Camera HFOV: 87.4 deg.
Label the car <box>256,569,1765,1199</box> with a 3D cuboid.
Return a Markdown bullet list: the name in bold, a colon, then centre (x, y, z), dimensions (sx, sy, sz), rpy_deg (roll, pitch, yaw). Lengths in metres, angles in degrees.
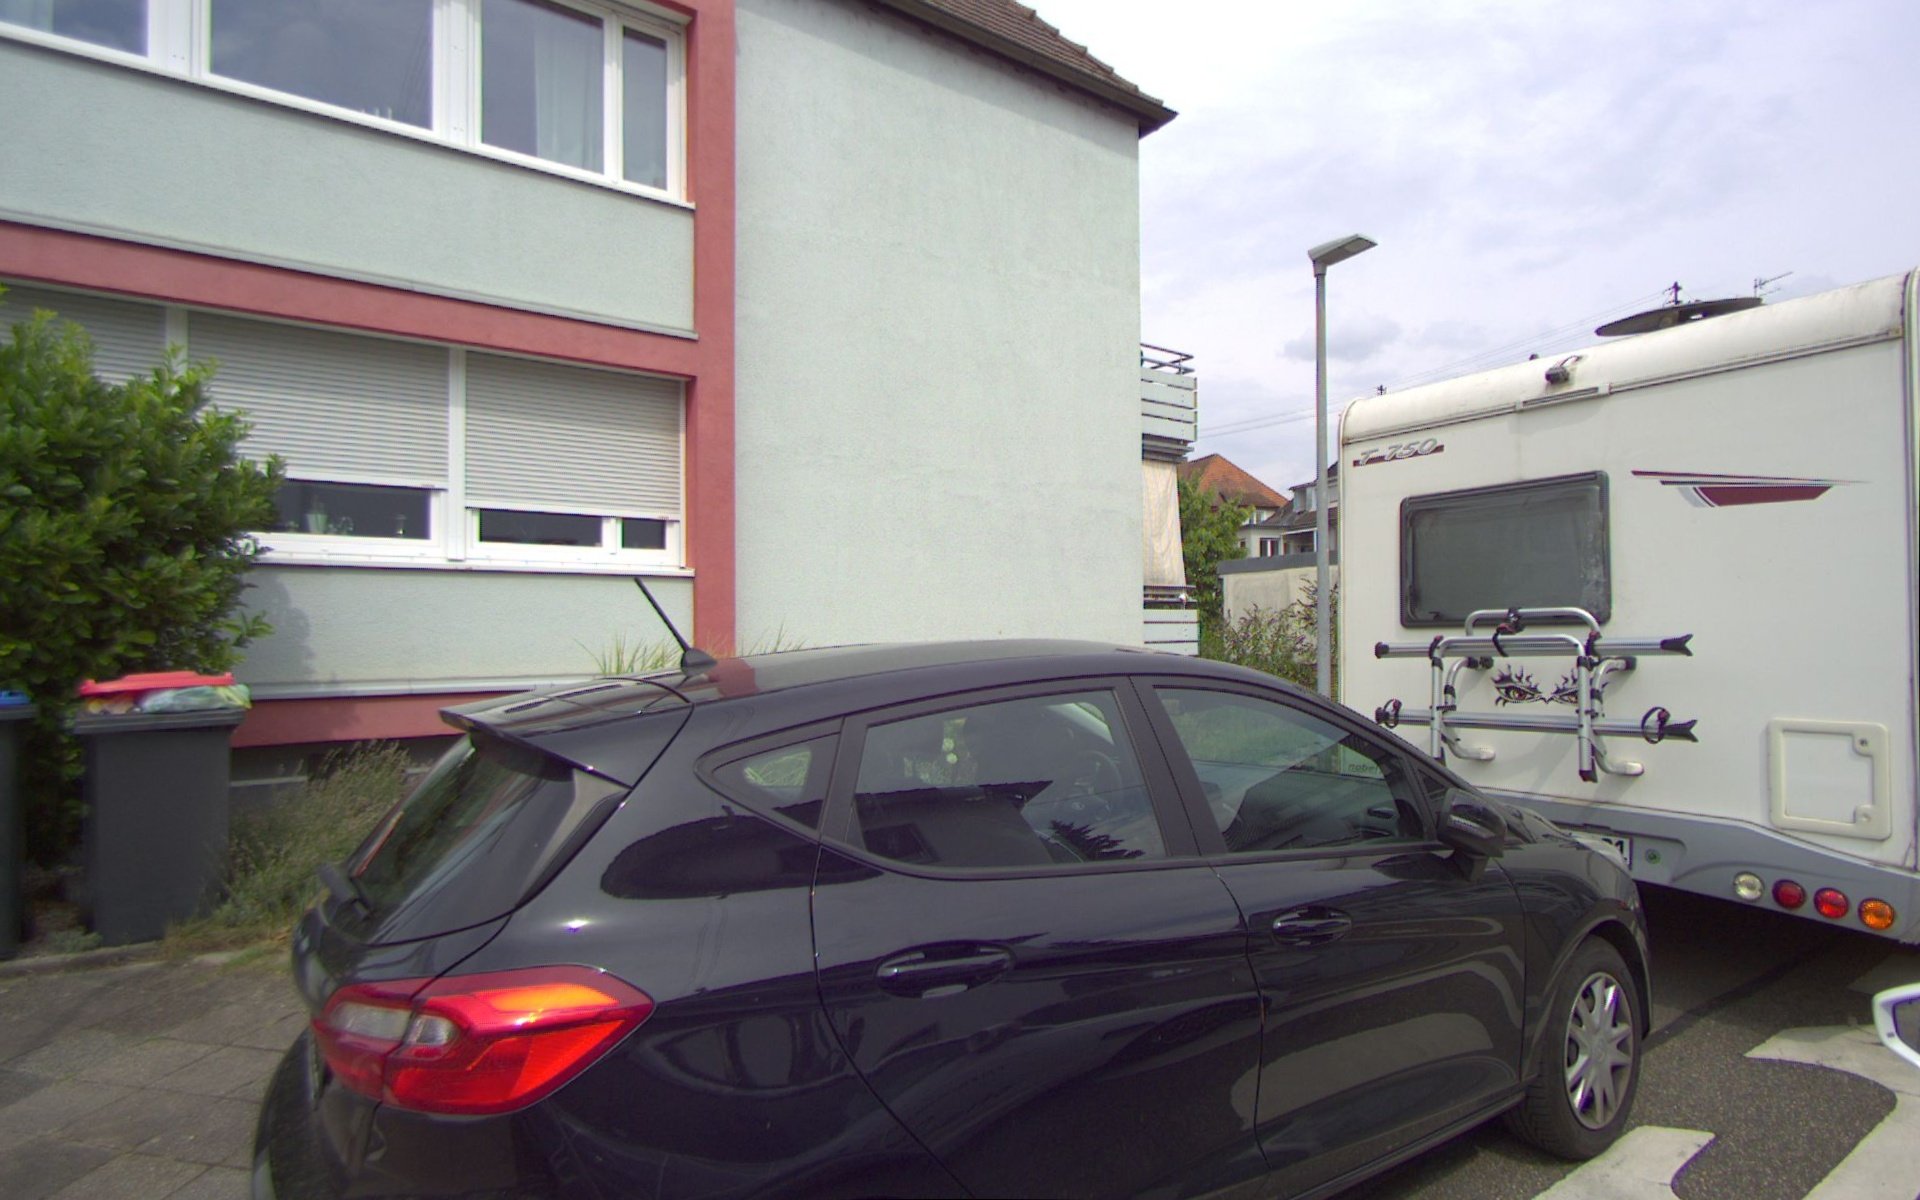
- **car**: centre (0.411, 0.795, 2.767), dimensions (3.725, 1.441, 1.650), rpy_deg (3, -3, -31)

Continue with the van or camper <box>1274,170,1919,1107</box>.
- **van or camper**: centre (4.774, 0.262, 5.601), dimensions (6.094, 2.760, 2.392), rpy_deg (3, -3, -32)

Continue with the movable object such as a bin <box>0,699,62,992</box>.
- **movable object such as a bin**: centre (-4.154, 0.995, 4.155), dimensions (0.589, 1.128, 0.670), rpy_deg (3, -3, -41)

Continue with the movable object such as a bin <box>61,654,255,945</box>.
- **movable object such as a bin**: centre (-3.557, 0.822, 4.466), dimensions (0.589, 1.146, 0.670), rpy_deg (3, -3, -41)
